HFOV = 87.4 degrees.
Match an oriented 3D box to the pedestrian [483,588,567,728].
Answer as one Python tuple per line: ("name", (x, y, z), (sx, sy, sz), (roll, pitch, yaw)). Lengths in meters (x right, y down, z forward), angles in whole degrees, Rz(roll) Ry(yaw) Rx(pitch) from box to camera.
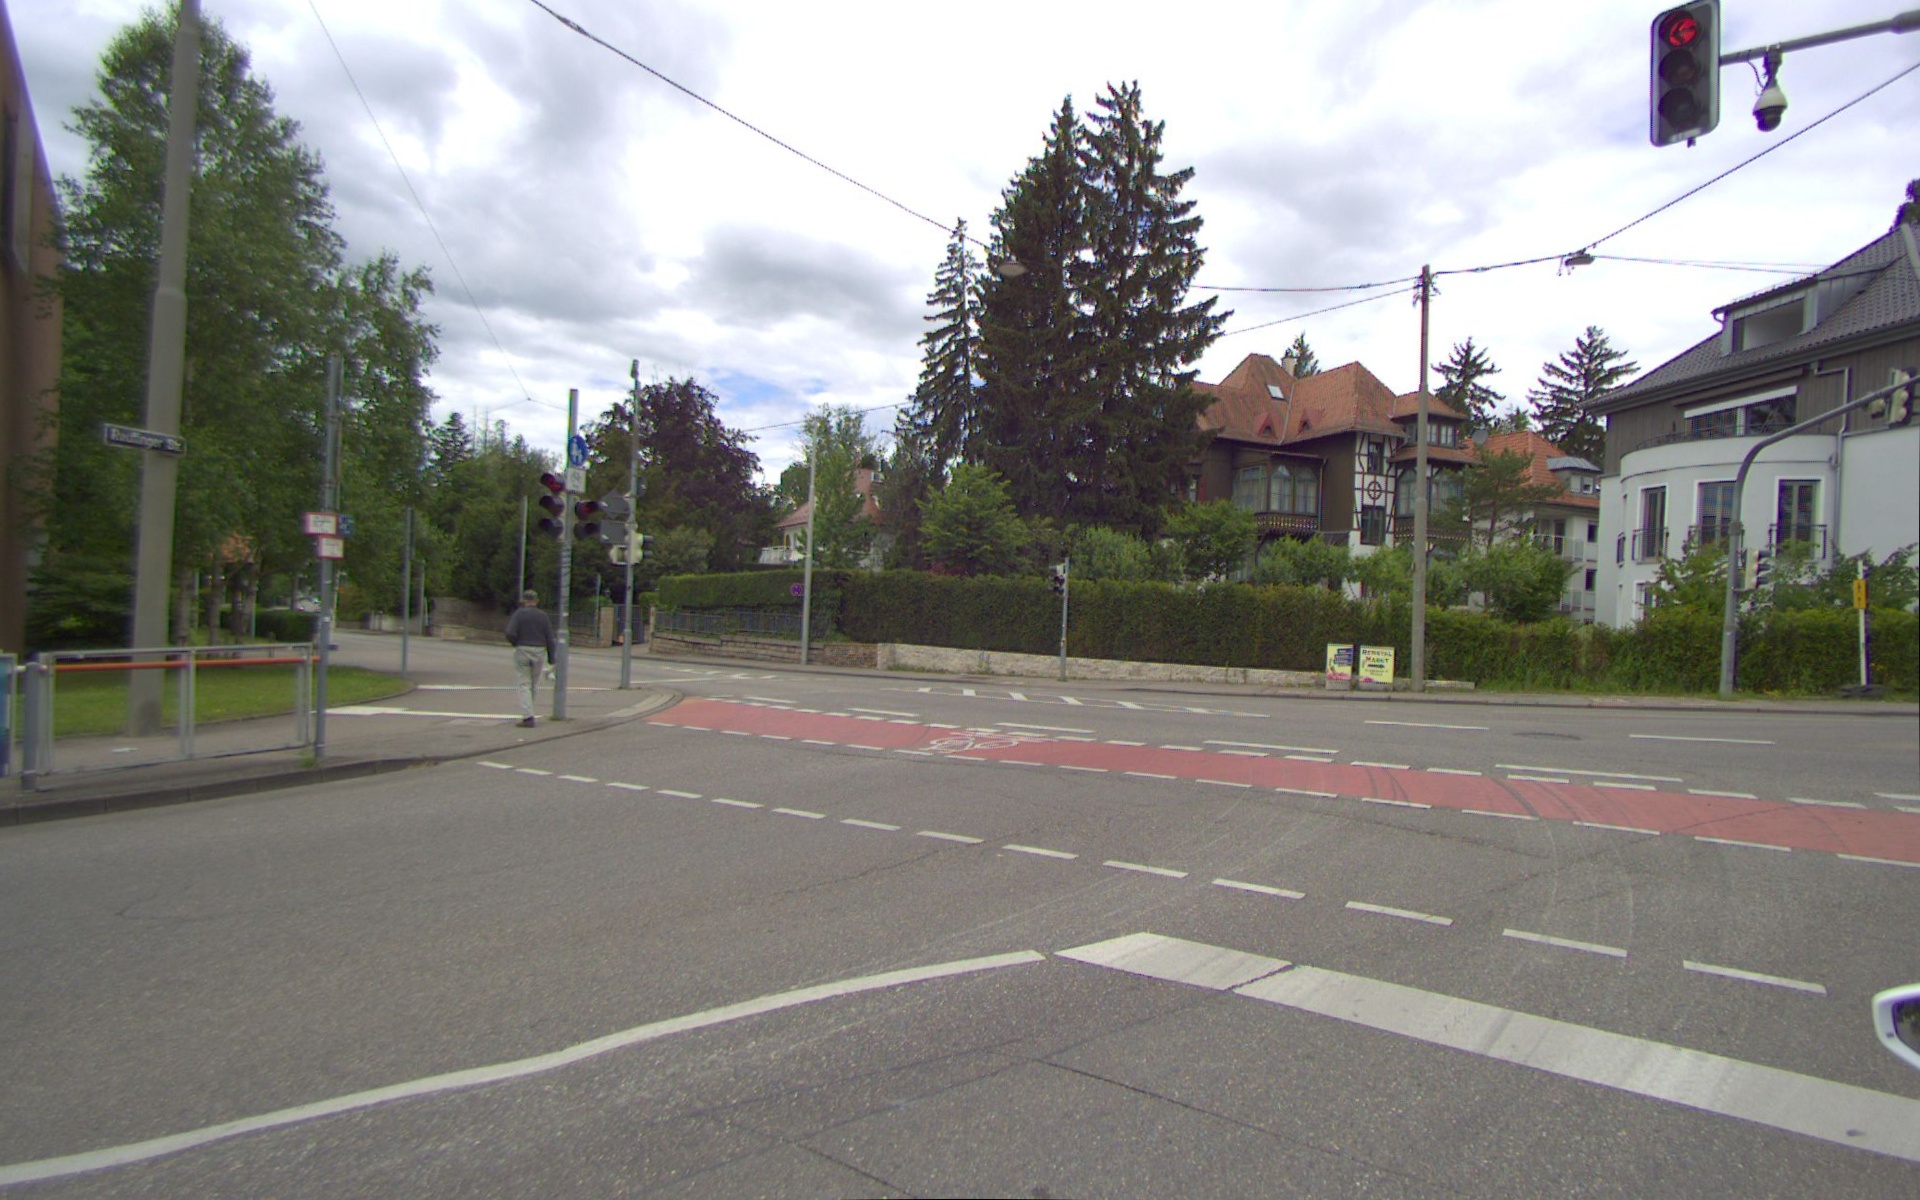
("pedestrian", (-5.373, 0.694, 12.404), (0.728, 1.655, 0.681), (-1, -1, 36))

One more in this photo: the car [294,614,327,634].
("car", (-50.858, 1.884, 78.595), (1.695, 1.432, 4.375), (1, 0, -39))
